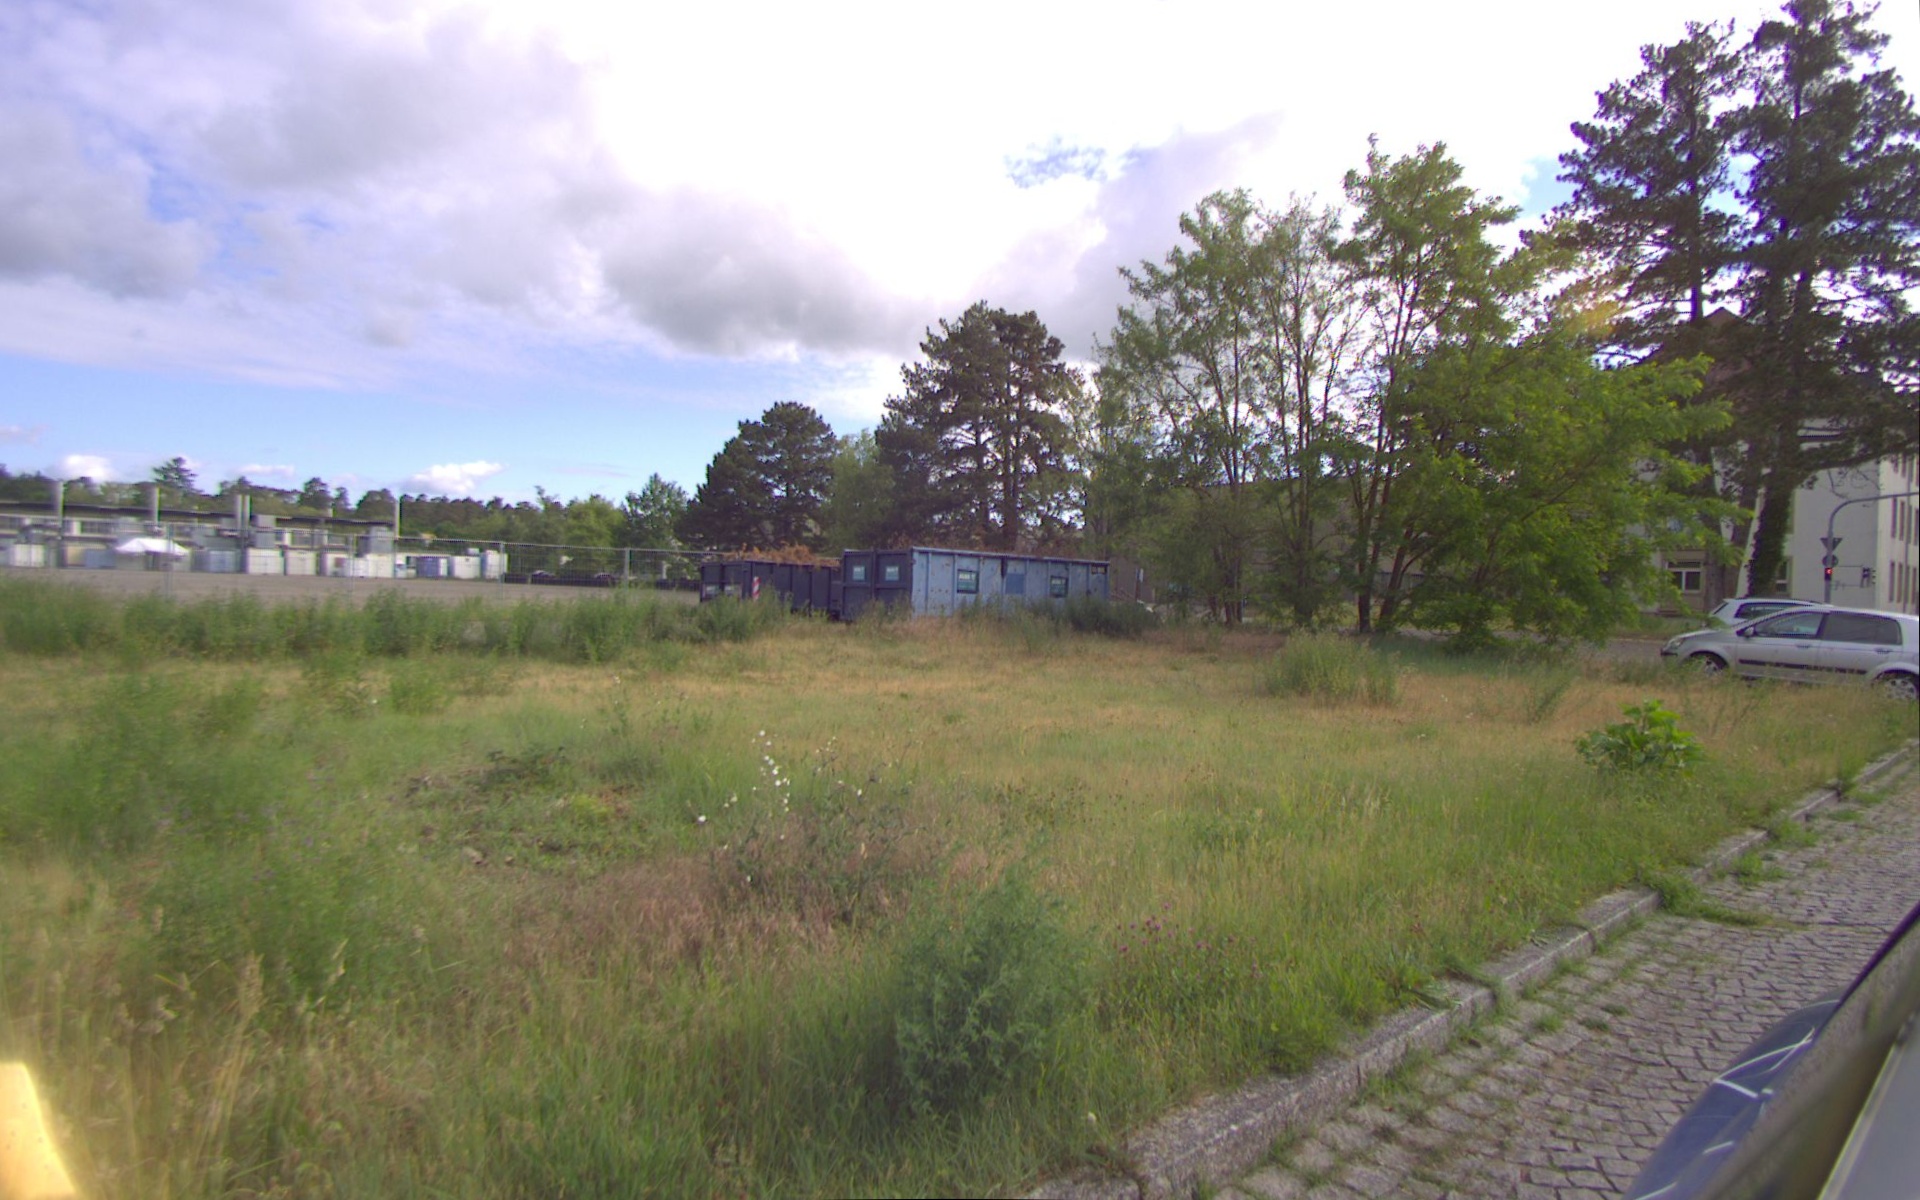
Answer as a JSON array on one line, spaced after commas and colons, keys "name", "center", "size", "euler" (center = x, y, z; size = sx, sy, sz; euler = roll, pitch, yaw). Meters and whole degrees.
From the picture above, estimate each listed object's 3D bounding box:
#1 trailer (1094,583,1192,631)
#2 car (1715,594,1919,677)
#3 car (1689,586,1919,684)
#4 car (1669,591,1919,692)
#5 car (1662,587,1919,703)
[{"name": "trailer", "center": [4.725, 0.147, 26.240], "size": [1.124, 1.184, 2.316], "euler": [0, 1, -41]}, {"name": "car", "center": [19.626, 0.770, 22.245], "size": [1.796, 1.442, 4.558], "euler": [0, 4, -43]}, {"name": "car", "center": [17.700, 0.669, 20.605], "size": [1.797, 1.593, 4.334], "euler": [0, 5, -45]}, {"name": "car", "center": [15.926, 0.741, 18.604], "size": [1.765, 1.423, 4.376], "euler": [2, 3, -41]}, {"name": "car", "center": [14.085, 0.692, 16.667], "size": [1.713, 1.497, 3.779], "euler": [2, 3, -42]}]
